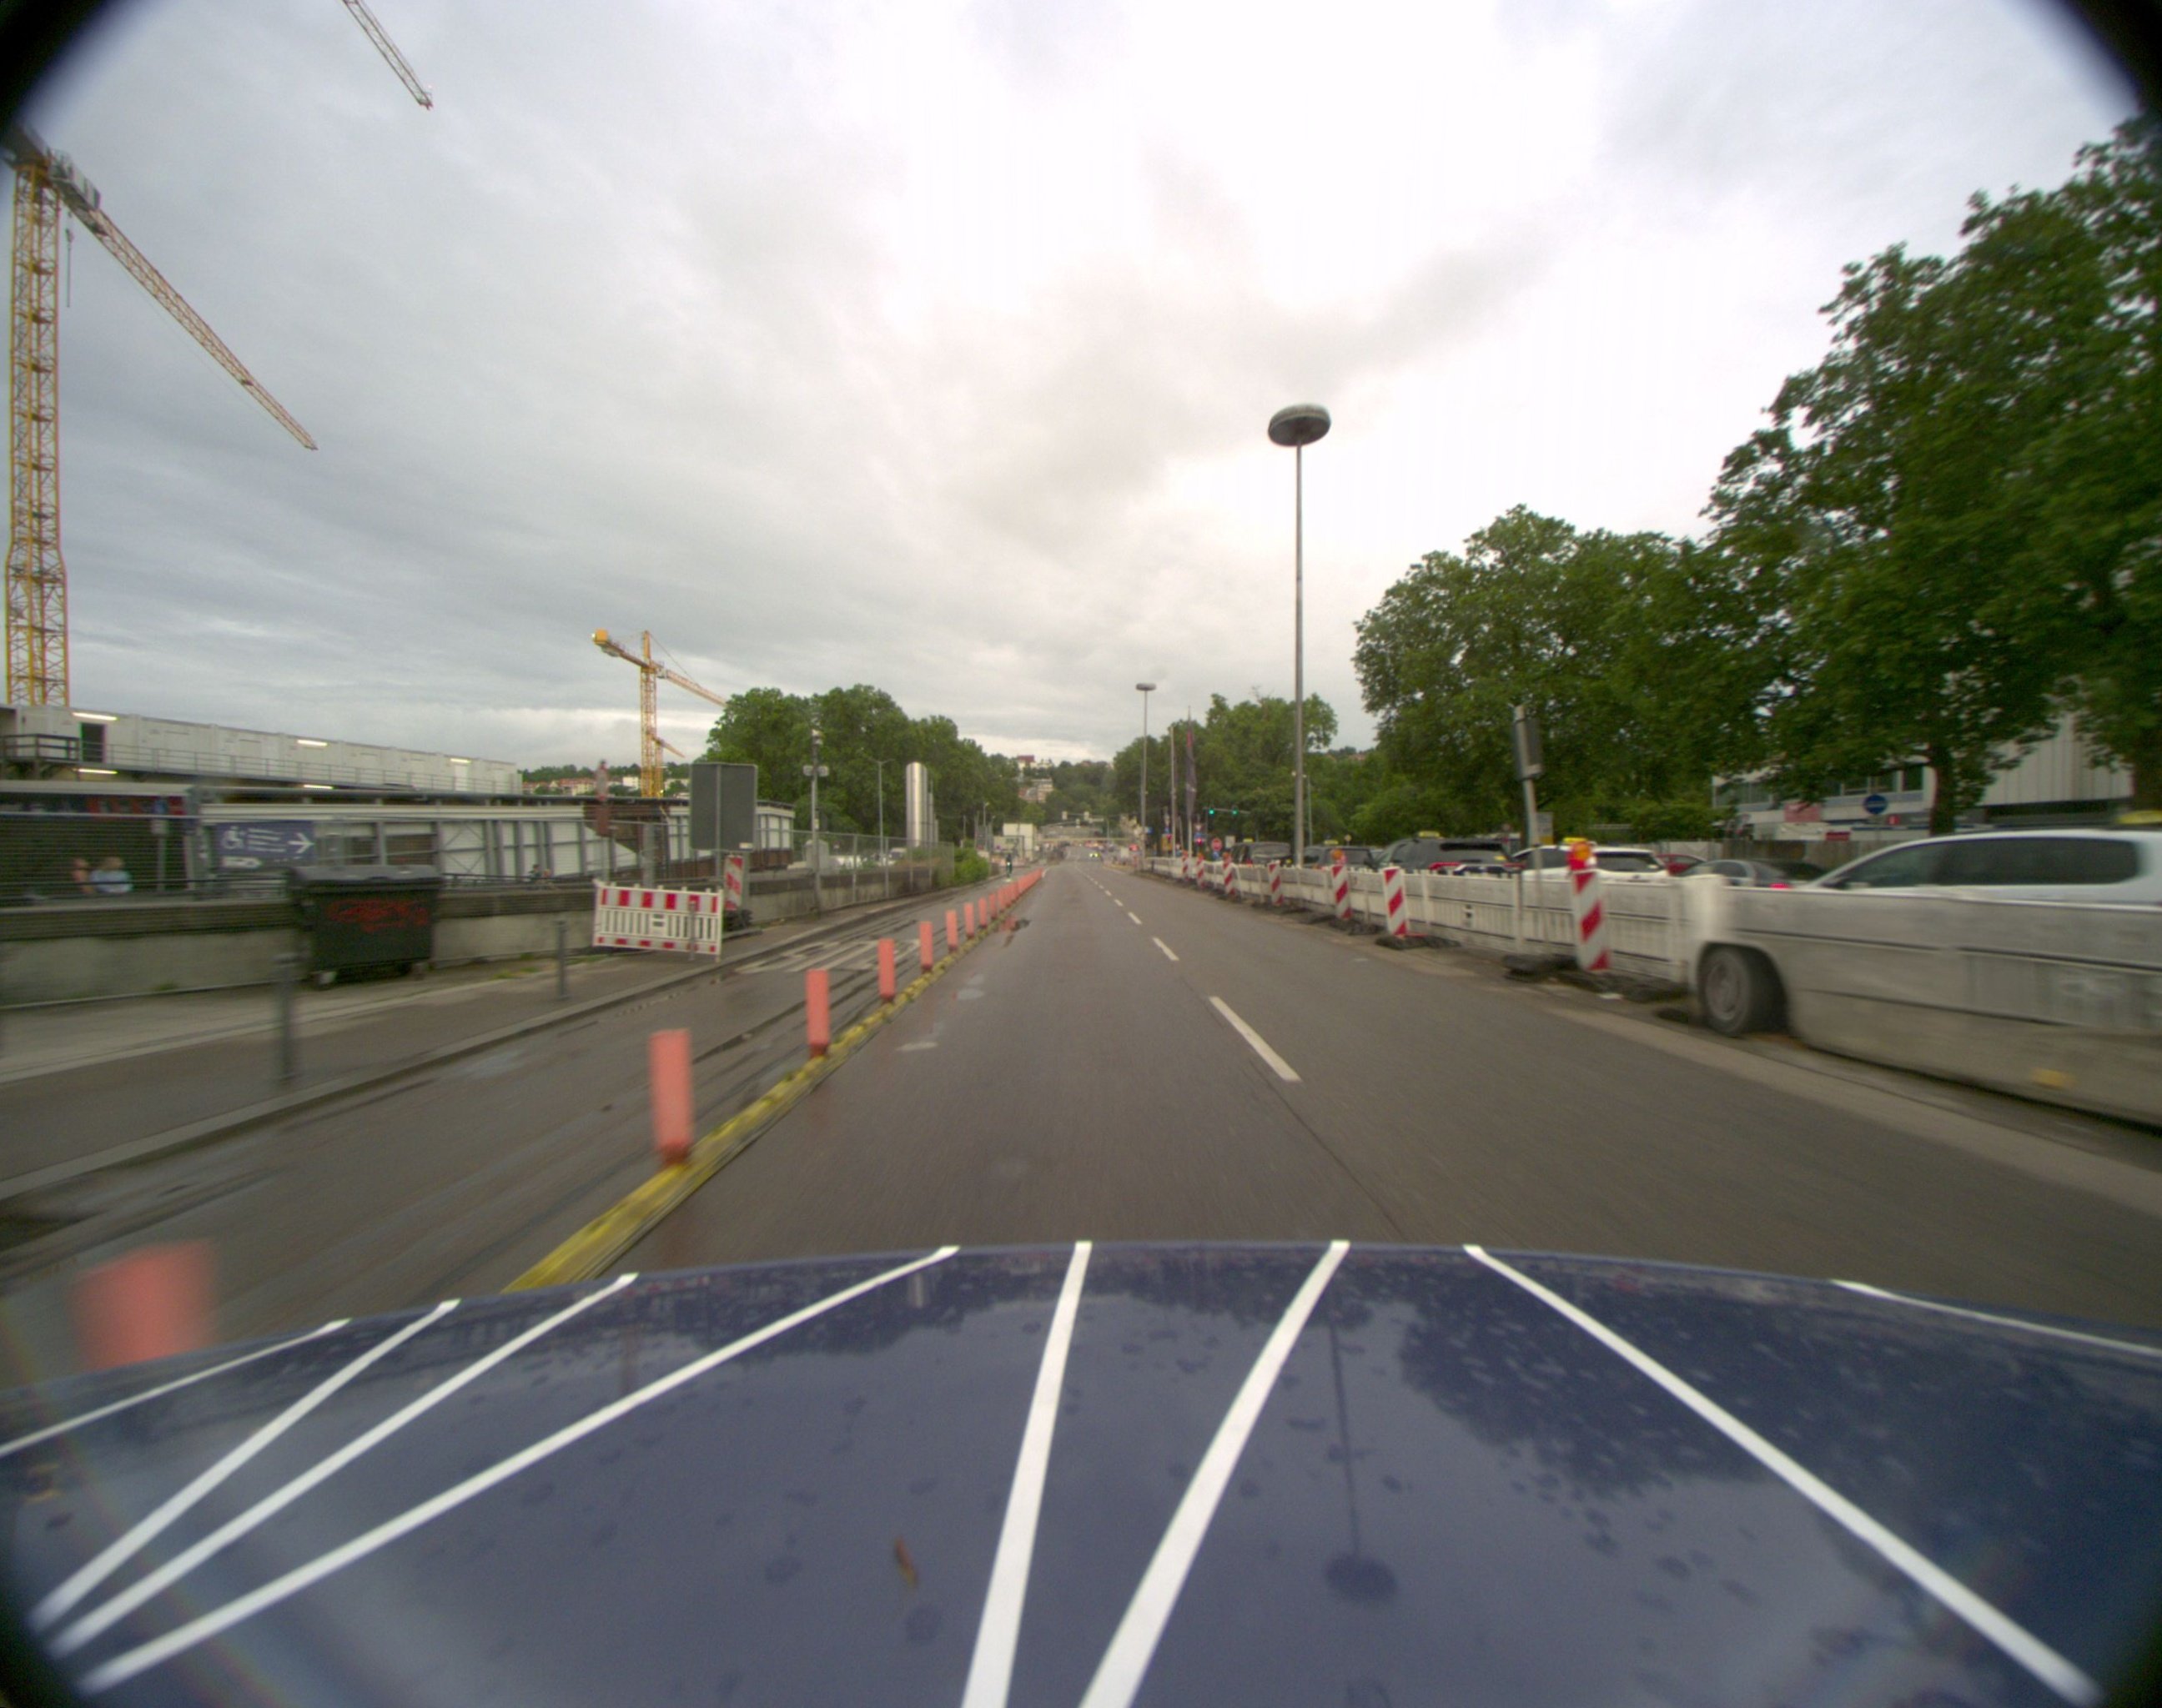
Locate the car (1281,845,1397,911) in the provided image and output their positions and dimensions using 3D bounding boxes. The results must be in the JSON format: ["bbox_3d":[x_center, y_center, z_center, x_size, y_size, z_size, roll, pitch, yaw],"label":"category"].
[{"bbox_3d":[7.487,0.650,22.603,1.998,1.760,4.812,0,0,2],"label":"car"}]

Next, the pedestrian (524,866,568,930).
[{"bbox_3d":[-17.318,1.402,24.590,0.780,2.002,0.765,-3,1,-3],"label":"pedestrian"}]

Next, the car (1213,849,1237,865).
[{"bbox_3d":[16.283,0.338,86.337,1.998,1.622,4.819,-2,0,2],"label":"car"}]

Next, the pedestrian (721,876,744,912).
[{"bbox_3d":[-18.328,2.105,39.971,0.673,1.821,1.014,-1,1,-2],"label":"pedestrian"}]

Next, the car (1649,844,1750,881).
[{"bbox_3d":[30.264,0.429,37.213,3.734,1.534,1.855,-3,1,42],"label":"car"}]

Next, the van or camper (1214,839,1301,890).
[{"bbox_3d":[6.928,0.378,30.477,1.951,1.809,5.390,2,0,-2],"label":"van or camper"}]

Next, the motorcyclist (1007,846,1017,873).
[{"bbox_3d":[-5.287,0.429,58.523,0.726,2.024,0.587,0,0,-2],"label":"motorcyclist"}]

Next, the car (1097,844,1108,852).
[{"bbox_3d":[4.806,-1.355,171.112,1.664,1.533,4.155,-1,-2,-11],"label":"car"}]

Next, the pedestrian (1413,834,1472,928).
[{"bbox_3d":[7.887,0.580,16.616,0.878,2.002,0.821,-1,1,-1],"label":"pedestrian"}]

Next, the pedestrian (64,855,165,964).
[{"bbox_3d":[-18.548,1.039,14.607,0.806,2.002,0.765,-3,1,-3],"label":"pedestrian"}]

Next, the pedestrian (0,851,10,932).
[{"bbox_3d":[-25.275,0.861,17.275,0.863,1.865,0.640,-1,1,-34],"label":"pedestrian"}]

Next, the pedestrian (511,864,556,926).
[{"bbox_3d":[-18.465,1.372,25.637,0.867,2.002,0.765,-3,1,-3],"label":"pedestrian"}]

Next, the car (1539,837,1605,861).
[{"bbox_3d":[42.827,-0.445,66.398,4.821,2.002,2.039,0,1,31],"label":"car"}]

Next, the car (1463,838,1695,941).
[{"bbox_3d":[10.064,0.637,15.890,1.919,1.840,4.567,0,0,1],"label":"car"}]

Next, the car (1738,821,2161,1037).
[{"bbox_3d":[9.522,0.609,7.819,1.788,1.712,4.484,0,0,3],"label":"car"}]

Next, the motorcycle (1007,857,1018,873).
[{"bbox_3d":[-5.295,0.833,58.611,0.730,1.221,2.161,0,-1,-2],"label":"motorcycle"}]

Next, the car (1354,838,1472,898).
[{"bbox_3d":[10.516,0.413,24.468,1.895,1.692,4.422,-2,0,1],"label":"car"}]

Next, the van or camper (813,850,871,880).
[{"bbox_3d":[-20.237,0.943,64.257,2.391,2.387,6.046,1,-1,-42],"label":"van or camper"}]

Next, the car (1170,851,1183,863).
[{"bbox_3d":[13.230,0.412,105.740,1.682,1.533,3.175,0,-1,5],"label":"car"}]

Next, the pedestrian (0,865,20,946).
[{"bbox_3d":[-22.648,1.051,15.532,0.916,1.636,0.700,0,1,-34],"label":"pedestrian"}]

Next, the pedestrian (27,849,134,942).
[{"bbox_3d":[-18.017,0.725,13.697,0.857,1.584,0.709,-3,1,-3],"label":"pedestrian"}]

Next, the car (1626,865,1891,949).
[{"bbox_3d":[14.050,1.013,16.134,1.999,1.433,3.999,-2,0,-1],"label":"car"}]

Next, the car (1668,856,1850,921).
[{"bbox_3d":[19.326,0.921,21.953,1.997,1.608,4.002,-2,0,7],"label":"car"}]

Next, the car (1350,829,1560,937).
[{"bbox_3d":[7.110,0.505,15.128,1.998,1.806,4.812,0,0,3],"label":"car"}]

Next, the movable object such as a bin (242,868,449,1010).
[{"bbox_3d":[-8.883,0.940,9.219,1.299,1.483,1.537,1,1,33],"label":"movable object such as a bin"}]
